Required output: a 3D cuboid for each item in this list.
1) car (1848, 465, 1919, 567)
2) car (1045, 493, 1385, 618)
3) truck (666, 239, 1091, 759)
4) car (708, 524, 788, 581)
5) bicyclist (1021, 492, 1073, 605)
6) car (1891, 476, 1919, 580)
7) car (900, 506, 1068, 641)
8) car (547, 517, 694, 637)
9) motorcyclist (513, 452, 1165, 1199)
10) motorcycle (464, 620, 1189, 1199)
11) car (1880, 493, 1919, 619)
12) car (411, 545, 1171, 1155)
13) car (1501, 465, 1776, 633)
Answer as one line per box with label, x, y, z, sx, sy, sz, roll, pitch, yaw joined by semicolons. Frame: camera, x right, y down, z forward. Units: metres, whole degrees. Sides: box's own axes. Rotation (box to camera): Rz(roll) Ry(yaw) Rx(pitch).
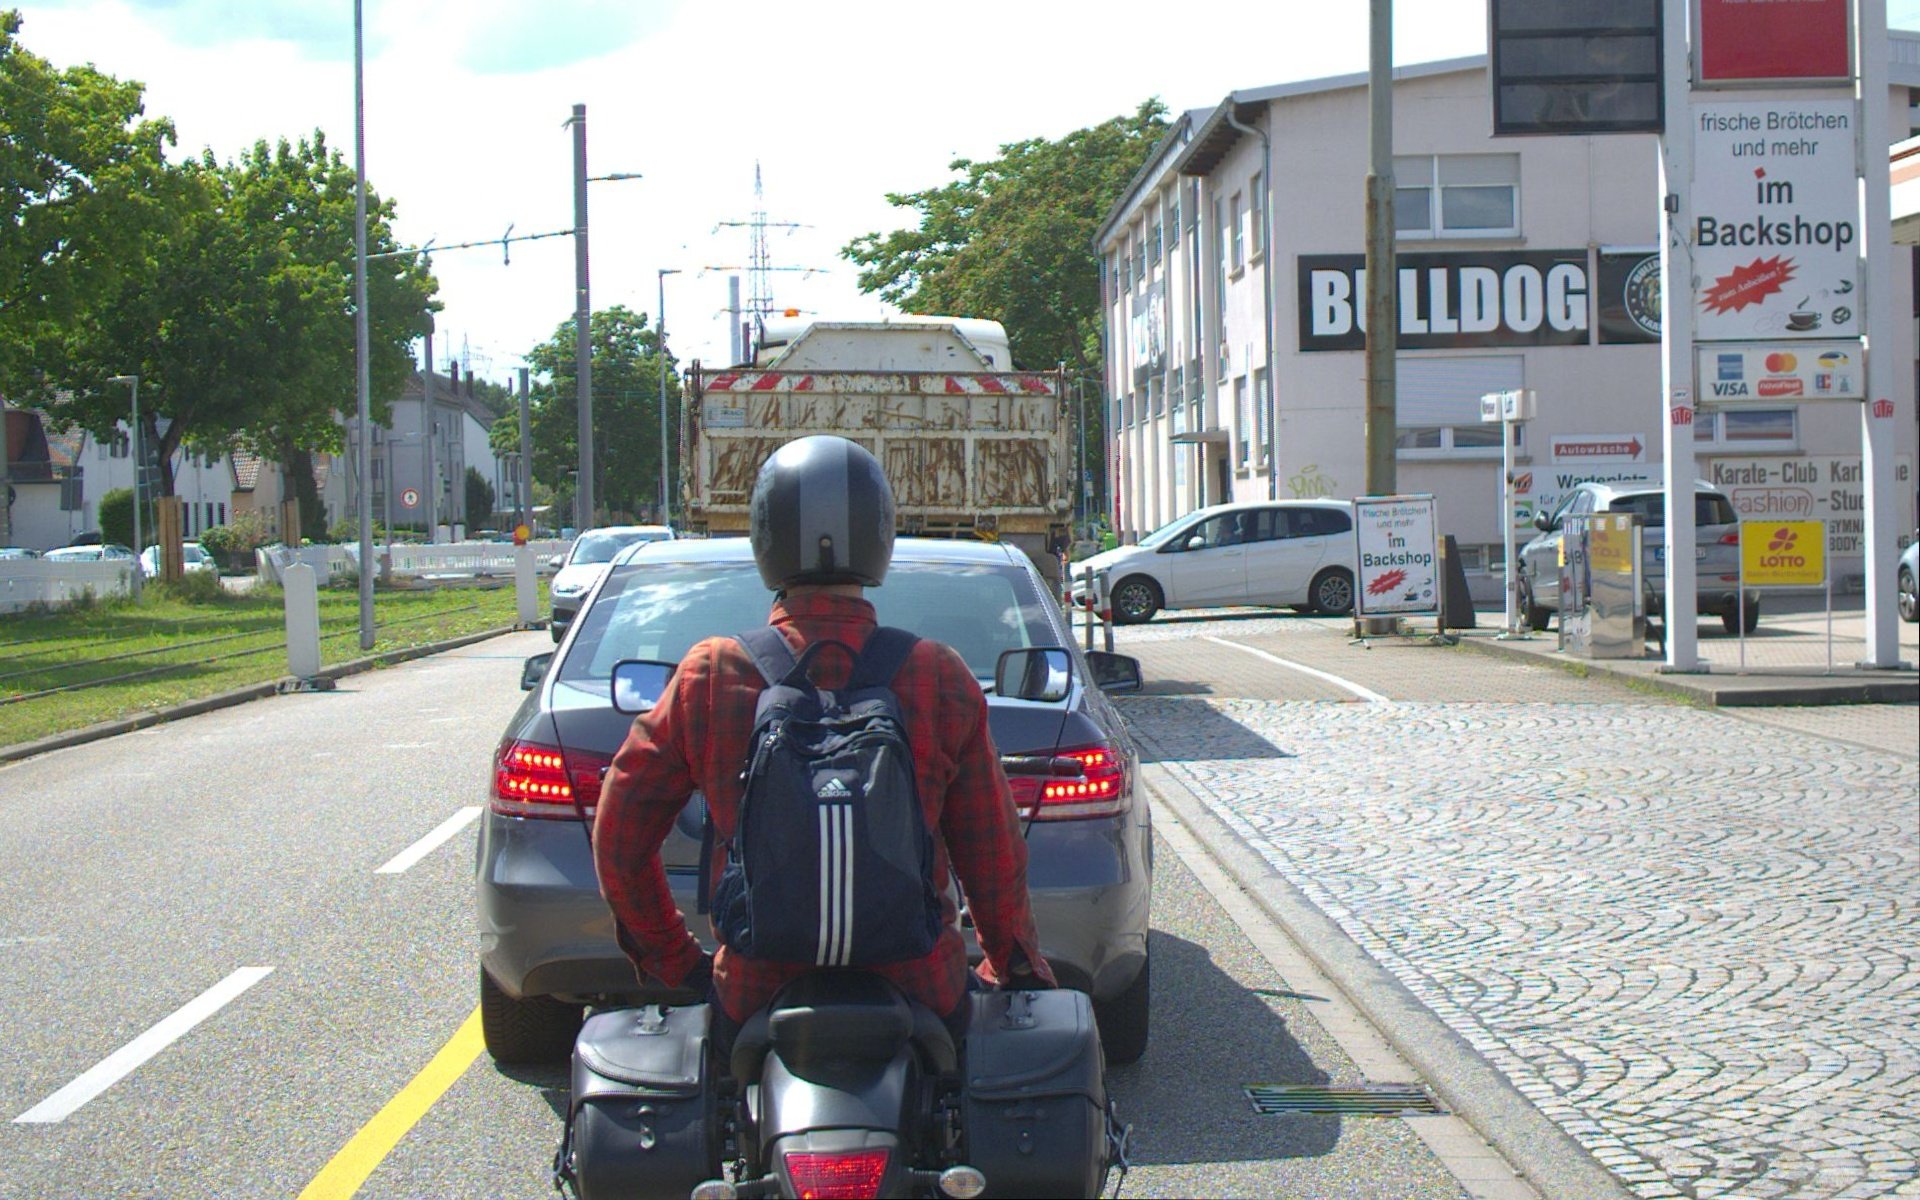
car;17.143;-1.452;57.528;3.987;1.643;1.966;-2;1;-1
car;3.511;-0.622;47.774;4.329;1.546;1.950;-2;1;-8
truck;-0.531;-0.747;26.614;2.610;3.245;9.182;-2;1;0
car;-5.451;-1.234;88.793;1.846;1.382;4.345;-2;1;-1
bicyclist;1.359;-0.804;53.386;0.671;1.738;0.813;-1;1;9
car;17.190;-1.211;54.985;3.987;1.643;1.966;-2;1;-1
car;0.253;-0.339;39.492;1.821;1.459;4.000;0;1;0
car;-4.447;-0.348;45.466;1.654;1.442;4.304;-2;2;-3
motorcyclist;-0.190;0.584;5.646;0.939;1.609;1.205;1;1;-1
motorcycle;-0.198;0.733;5.830;0.939;1.316;2.645;1;1;-1
car;11.757;-0.519;37.863;1.959;1.415;4.001;-2;1;-3
car;-0.432;0.572;10.301;1.821;1.419;4.000;0;1;-1
car;7.251;-0.550;37.121;1.959;1.643;4.001;-2;1;-3
